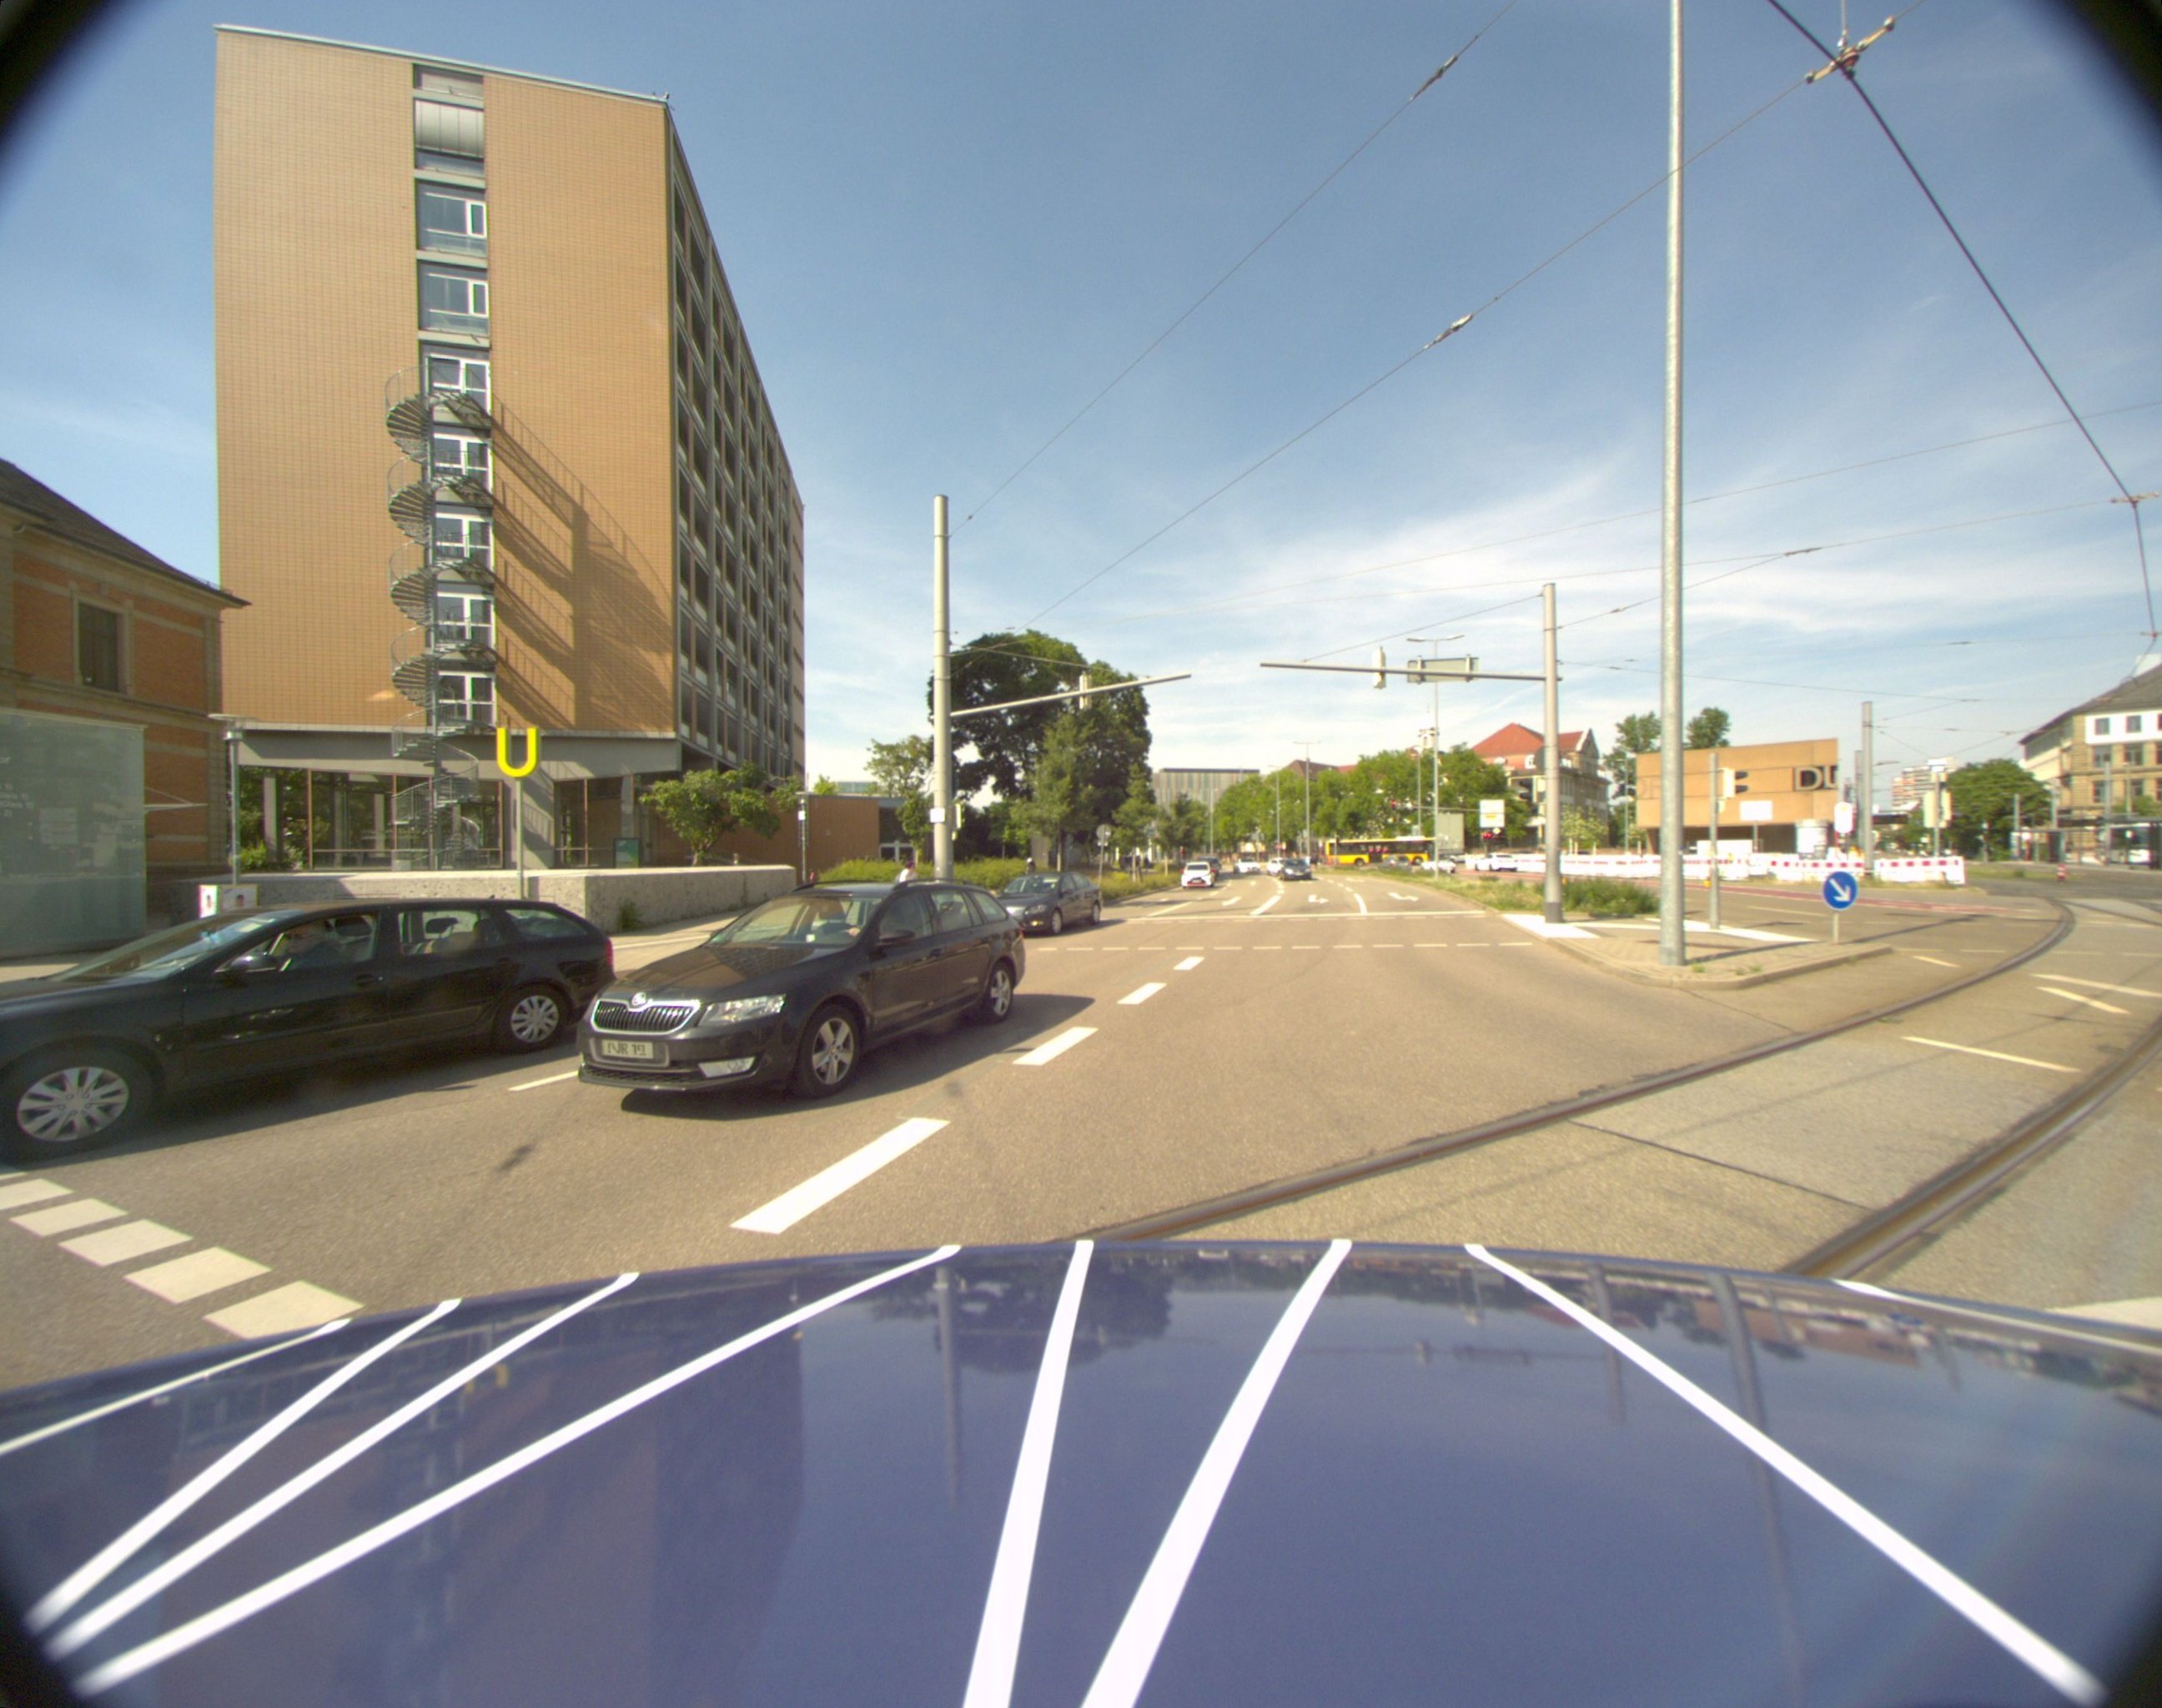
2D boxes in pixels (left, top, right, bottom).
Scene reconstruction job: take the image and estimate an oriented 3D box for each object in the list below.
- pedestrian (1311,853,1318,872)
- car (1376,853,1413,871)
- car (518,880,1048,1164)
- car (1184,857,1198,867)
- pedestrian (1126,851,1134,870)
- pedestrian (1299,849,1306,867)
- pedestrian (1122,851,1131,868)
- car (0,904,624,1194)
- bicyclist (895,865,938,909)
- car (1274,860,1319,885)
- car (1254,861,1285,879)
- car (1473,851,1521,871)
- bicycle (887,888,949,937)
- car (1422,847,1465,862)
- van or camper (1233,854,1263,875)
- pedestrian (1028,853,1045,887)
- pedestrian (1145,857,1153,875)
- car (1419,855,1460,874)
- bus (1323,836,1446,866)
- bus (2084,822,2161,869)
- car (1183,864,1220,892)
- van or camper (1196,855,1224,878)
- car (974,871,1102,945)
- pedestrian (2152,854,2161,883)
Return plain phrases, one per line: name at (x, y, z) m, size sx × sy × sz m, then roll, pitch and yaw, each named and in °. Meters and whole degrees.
pedestrian at (21.102, 0.756, 68.674) m, size 0.642 × 1.664 × 0.753 m, roll 0°, pitch 0°, yaw 18°
car at (23.989, 0.609, 58.338) m, size 1.597 × 1.279 × 4.002 m, roll -3°, pitch 0°, yaw 7°
car at (-1.952, 1.046, 6.759) m, size 1.632 × 1.426 × 4.786 m, roll -2°, pitch -1°, yaw 19°
car at (15.613, 1.126, 107.891) m, size 1.490 × 1.286 × 3.485 m, roll -3°, pitch 0°, yaw -1°
pedestrian at (4.711, 0.629, 73.074) m, size 0.643 × 1.754 × 0.475 m, roll 1°, pitch 2°, yaw -3°
pedestrian at (19.852, 0.351, 68.181) m, size 0.541 × 1.664 × 0.753 m, roll 0°, pitch 0°, yaw 18°
pedestrian at (4.323, 0.526, 71.998) m, size 0.642 × 1.617 × 0.732 m, roll 1°, pitch 2°, yaw 18°
car at (-6.142, 1.201, 5.821) m, size 1.702 × 1.420 × 4.405 m, roll -3°, pitch -2°, yaw 20°
bicyclist at (-4.053, 0.798, 18.707) m, size 0.718 × 1.023 × 0.914 m, roll 0°, pitch 2°, yaw -38°
car at (14.014, 1.172, 49.607) m, size 1.650 × 1.416 × 4.119 m, roll -3°, pitch 0°, yaw -1°
car at (14.695, 1.207, 59.368) m, size 1.490 × 1.286 × 3.485 m, roll -3°, pitch 0°, yaw -1°
car at (31.656, 0.519, 57.895) m, size 1.801 × 1.412 × 4.002 m, roll -3°, pitch 0°, yaw 7°
bicycle at (-4.019, 1.405, 18.677) m, size 0.718 × 1.009 × 1.913 m, roll 0°, pitch 2°, yaw -38°
car at (41.579, 0.068, 87.270) m, size 4.112 × 1.435 × 1.759 m, roll -3°, pitch 0°, yaw -5°
van or camper at (15.876, 0.940, 72.491) m, size 1.919 × 1.876 × 4.922 m, roll -1°, pitch 0°, yaw 1°
pedestrian at (-2.255, 0.801, 38.451) m, size 0.592 × 1.655 × 0.732 m, roll 1°, pitch 2°, yaw 18°
pedestrian at (6.533, 1.165, 72.657) m, size 0.642 × 1.664 × 0.753 m, roll 1°, pitch 2°, yaw 15°
car at (26.868, 0.796, 57.044) m, size 1.597 × 1.279 × 4.002 m, roll -3°, pitch 0°, yaw 7°
bus at (32.558, -0.284, 82.077) m, size 12.121 × 3.020 × 2.801 m, roll -1°, pitch 0°, yaw 20°
bus at (80.378, -0.652, 58.269) m, size 11.814 × 3.303 × 2.750 m, roll -1°, pitch 0°, yaw -44°
car at (6.886, 1.358, 43.237) m, size 1.679 × 1.466 × 3.764 m, roll -1°, pitch 0°, yaw 15°
van or camper at (11.213, 1.058, 66.546) m, size 1.729 × 1.876 × 4.923 m, roll -3°, pitch 0°, yaw 2°
car at (-0.905, 1.233, 18.757) m, size 1.633 × 1.427 × 4.534 m, roll -2°, pitch 0°, yaw 17°
pedestrian at (51.178, 0.670, 35.710) m, size 0.538 × 1.358 × 0.913 m, roll -2°, pitch 1°, yaw 18°
